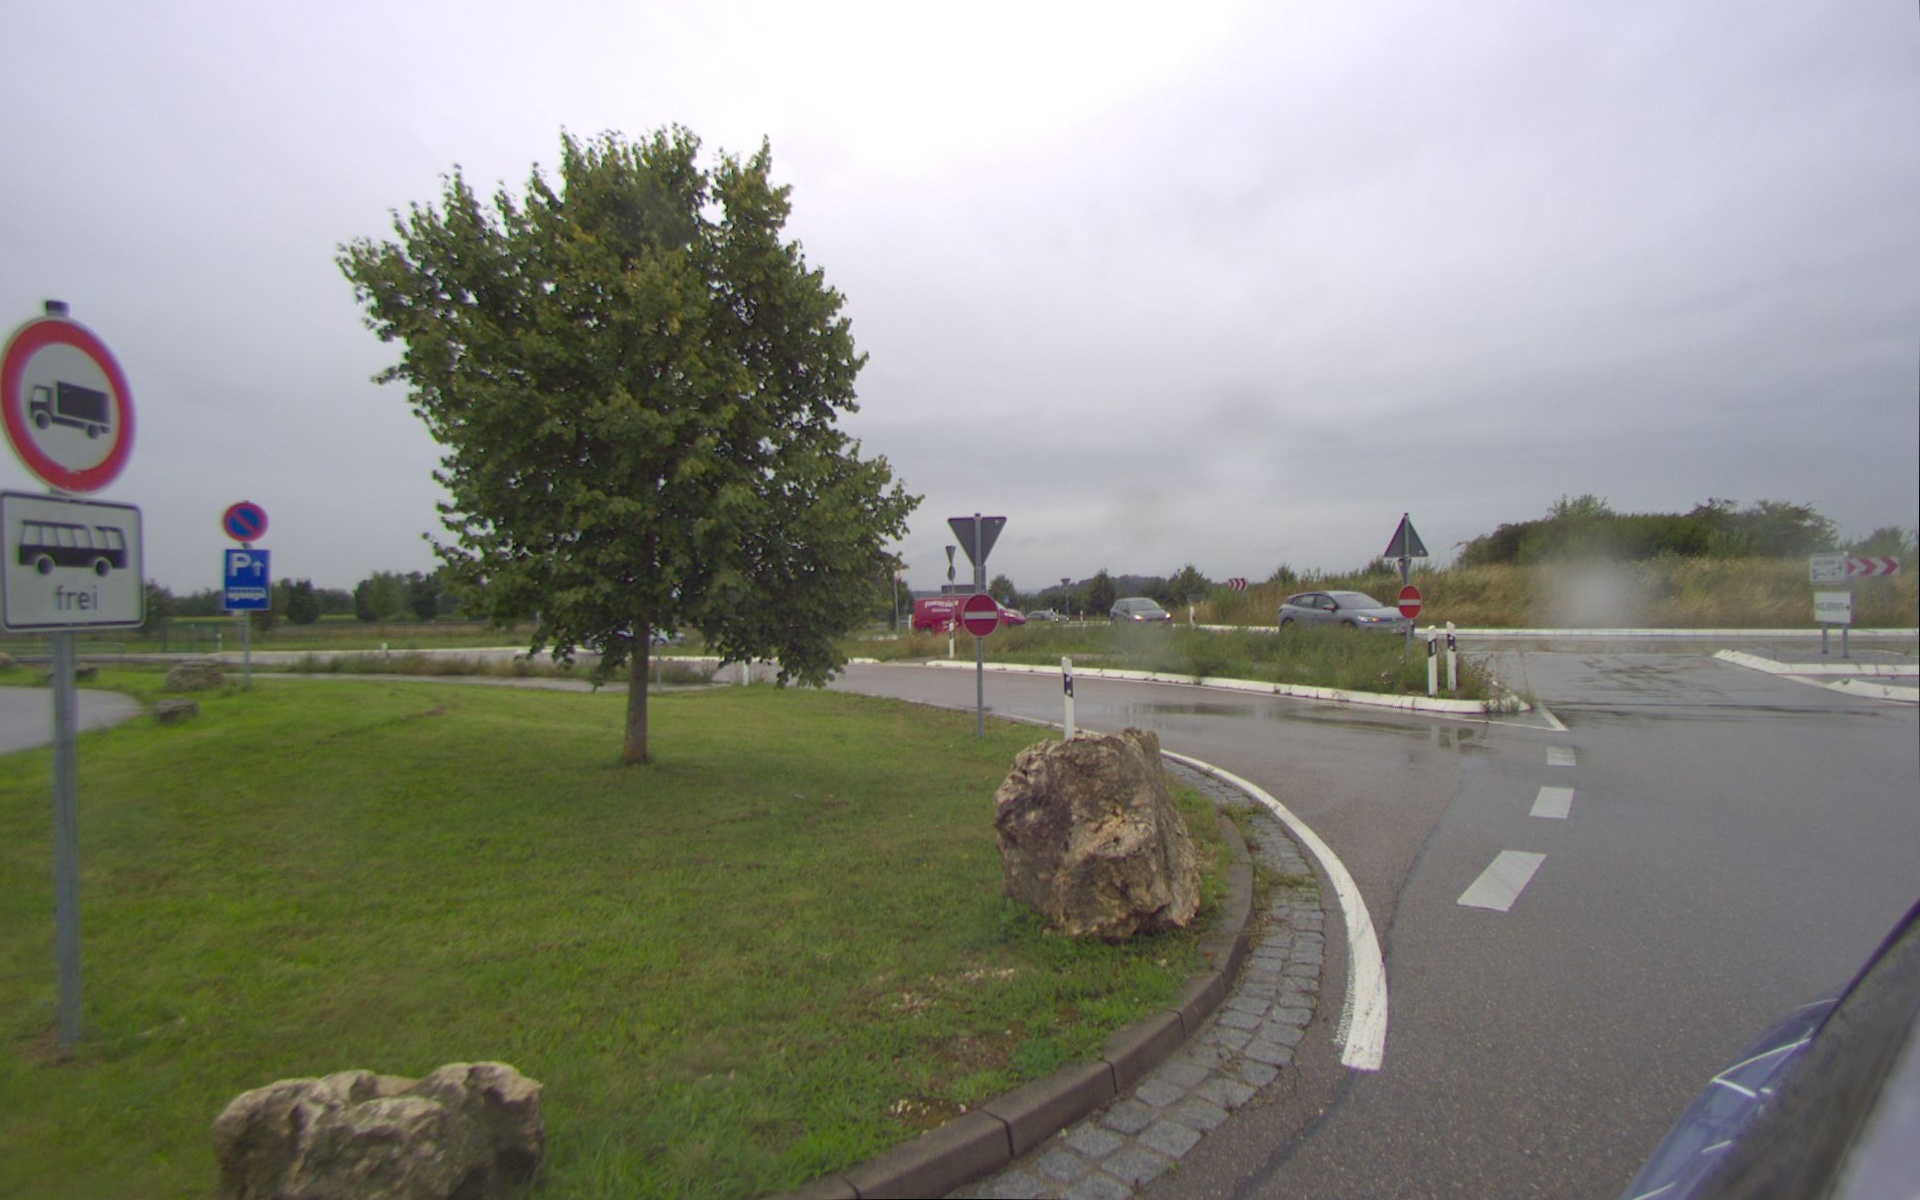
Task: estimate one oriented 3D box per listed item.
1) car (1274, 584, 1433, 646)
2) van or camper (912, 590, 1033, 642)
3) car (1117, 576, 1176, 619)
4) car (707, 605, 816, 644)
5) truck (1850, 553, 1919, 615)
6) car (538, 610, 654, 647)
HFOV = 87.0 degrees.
[{"bbox_3d":[11.433,0.384,29.797,1.958,1.594,4.509,-3,1,-16],"label":"car"},{"bbox_3d":[0.547,0.679,43.296,4.782,2.038,1.989,-2,2,18],"label":"van or camper"},{"bbox_3d":[7.895,-0.115,43.150,1.793,1.610,3.998,-4,0,2],"label":"car"},{"bbox_3d":[-8.903,1.102,45.681,4.444,1.624,1.997,-1,-1,5],"label":"car"},{"bbox_3d":[57.490,-0.976,58.971,3.052,3.644,8.186,-1,-1,-10],"label":"truck"},{"bbox_3d":[-16.603,1.301,46.308,4.579,1.500,1.998,-1,1,5],"label":"car"}]
